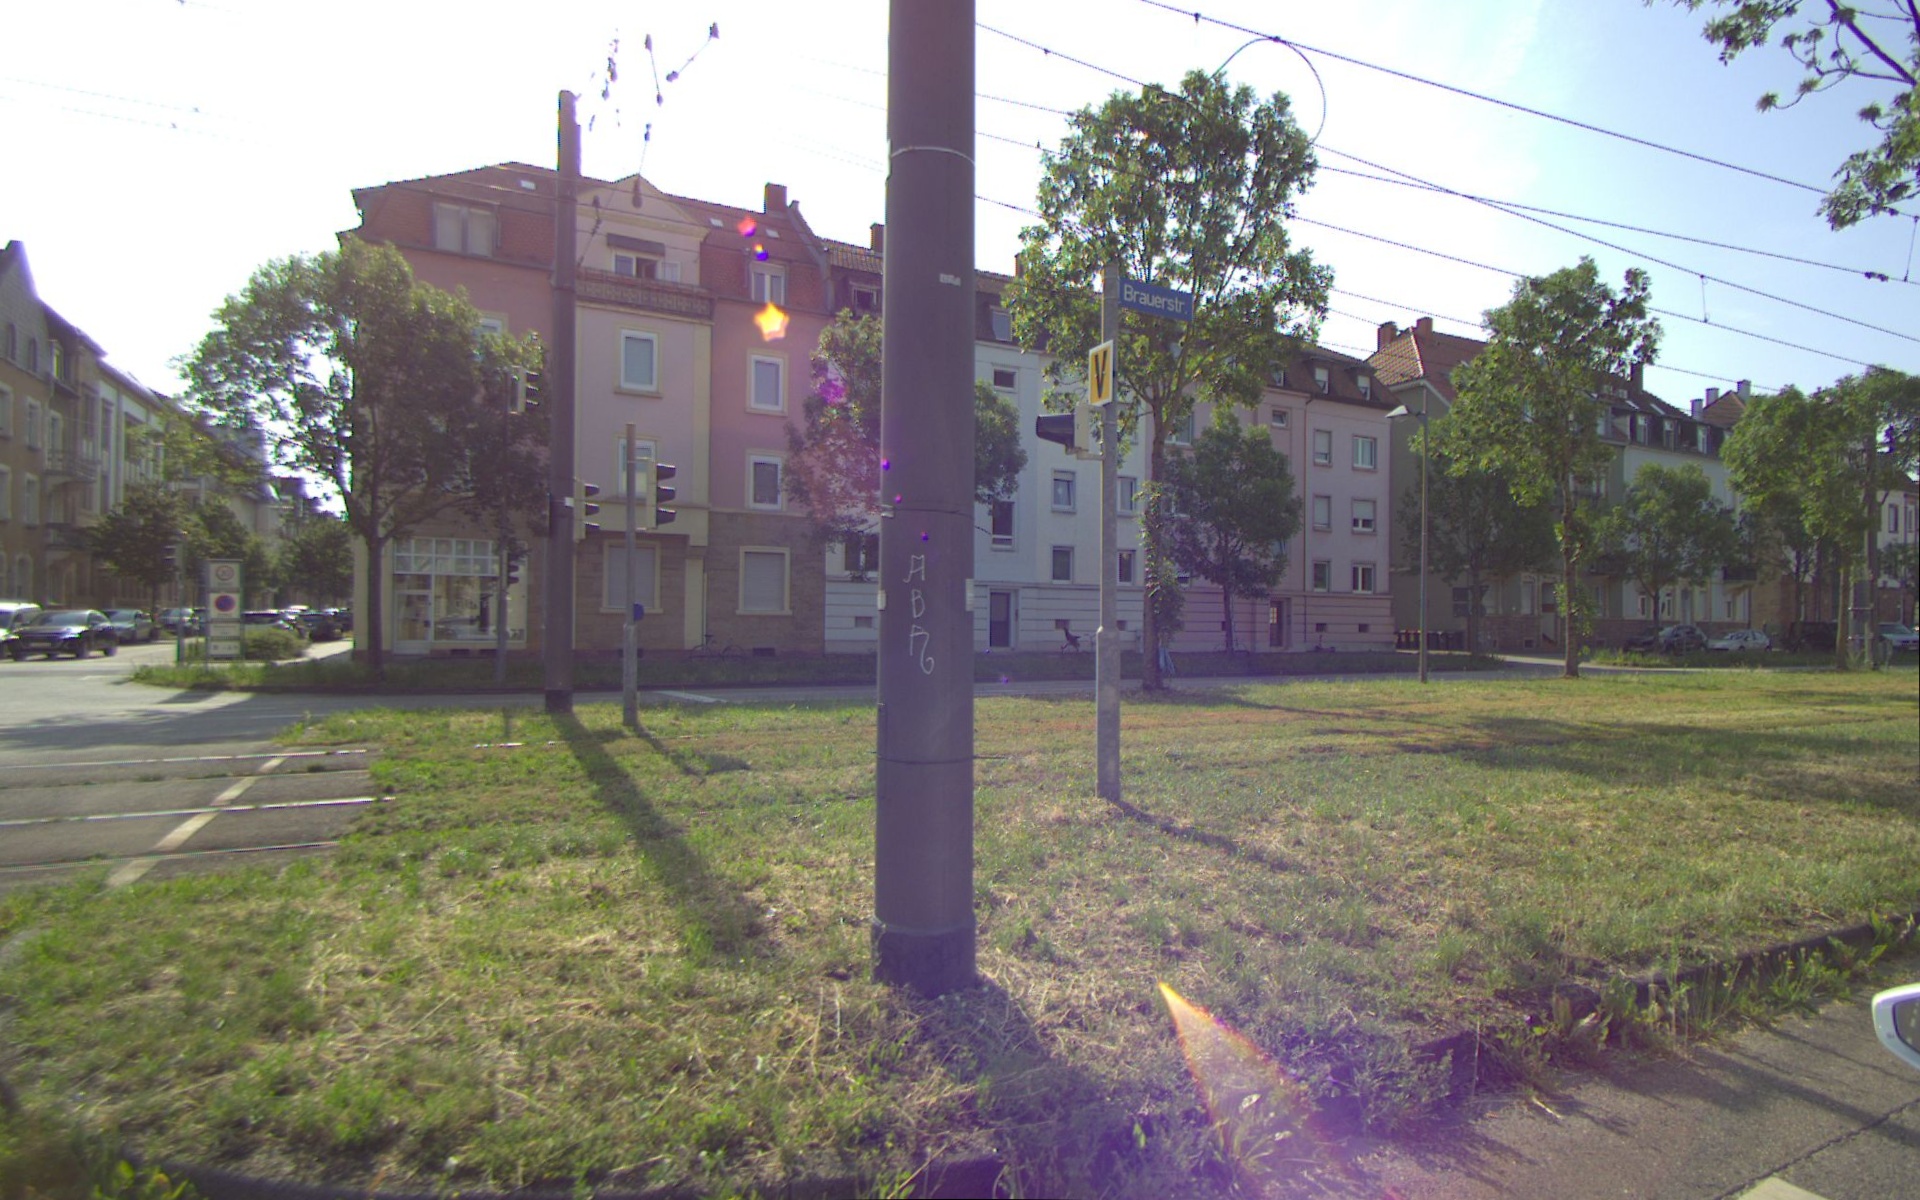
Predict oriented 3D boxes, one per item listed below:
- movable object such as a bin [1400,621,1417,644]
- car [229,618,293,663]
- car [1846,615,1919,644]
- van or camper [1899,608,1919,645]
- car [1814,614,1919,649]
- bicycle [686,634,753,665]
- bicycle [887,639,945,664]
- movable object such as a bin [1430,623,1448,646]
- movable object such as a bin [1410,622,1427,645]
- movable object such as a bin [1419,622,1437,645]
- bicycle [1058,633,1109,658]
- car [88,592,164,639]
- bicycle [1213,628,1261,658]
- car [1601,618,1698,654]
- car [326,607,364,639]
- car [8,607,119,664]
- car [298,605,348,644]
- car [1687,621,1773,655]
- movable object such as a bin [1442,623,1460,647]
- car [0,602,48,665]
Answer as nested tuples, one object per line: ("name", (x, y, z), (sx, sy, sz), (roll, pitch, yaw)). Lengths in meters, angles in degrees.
("movable object such as a bin", (24.825, 1.803, 55.605), (0.632, 1.227, 0.582), (1, 1, -28))
("car", (-25.866, 1.470, 37.253), (1.551, 1.481, 3.383), (1, 1, -28))
("car", (51.794, 1.621, 55.493), (1.935, 1.438, 4.478), (2, 1, 5))
("van or camper", (71.825, 1.988, 73.877), (6.276, 2.601, 2.031), (1, 1, -28))
("car", (49.397, 1.651, 54.397), (2.015, 1.645, 5.224), (2, 1, 4))
("bicycle", (-7.304, 1.488, 30.543), (1.923, 0.901, 0.465), (1, 1, -29))
("bicycle", (-1.463, 1.724, 33.715), (1.923, 0.799, 0.435), (1, 1, -29))
("movable object such as a bin", (25.701, 1.850, 53.934), (0.632, 1.227, 0.582), (1, 1, -28))
("movable object such as a bin", (25.120, 1.819, 55.054), (0.632, 1.227, 0.582), (1, 1, -28))
("movable object such as a bin", (25.397, 1.834, 54.515), (0.632, 1.227, 0.582), (1, 1, -28))
("bicycle", (4.505, 1.672, 36.628), (1.923, 0.868, 0.445), (1, 1, -29))
("car", (-36.684, 0.660, 44.273), (1.811, 1.874, 3.970), (1, 1, -28))
("bicycle", (11.047, 1.696, 40.038), (1.923, 1.143, 0.601), (1, 1, -29))
("car", (33.832, 1.744, 49.243), (4.716, 1.650, 1.985), (1, 1, -29))
("car", (-38.944, 1.434, 63.640), (1.811, 1.874, 3.970), (1, 1, -28))
("car", (-29.432, 1.132, 33.111), (1.811, 1.642, 3.970), (1, 1, -28))
("car", (-32.164, 1.235, 50.793), (1.811, 1.874, 3.971), (1, -2, -28))
("car", (39.649, 1.945, 51.736), (4.102, 1.650, 1.883), (1, 1, -27))
("movable object such as a bin", (26.077, 1.869, 53.338), (0.632, 1.227, 0.582), (1, 1, -28))
("car", (-32.207, 1.063, 33.431), (1.811, 1.874, 3.970), (1, 1, -28))
